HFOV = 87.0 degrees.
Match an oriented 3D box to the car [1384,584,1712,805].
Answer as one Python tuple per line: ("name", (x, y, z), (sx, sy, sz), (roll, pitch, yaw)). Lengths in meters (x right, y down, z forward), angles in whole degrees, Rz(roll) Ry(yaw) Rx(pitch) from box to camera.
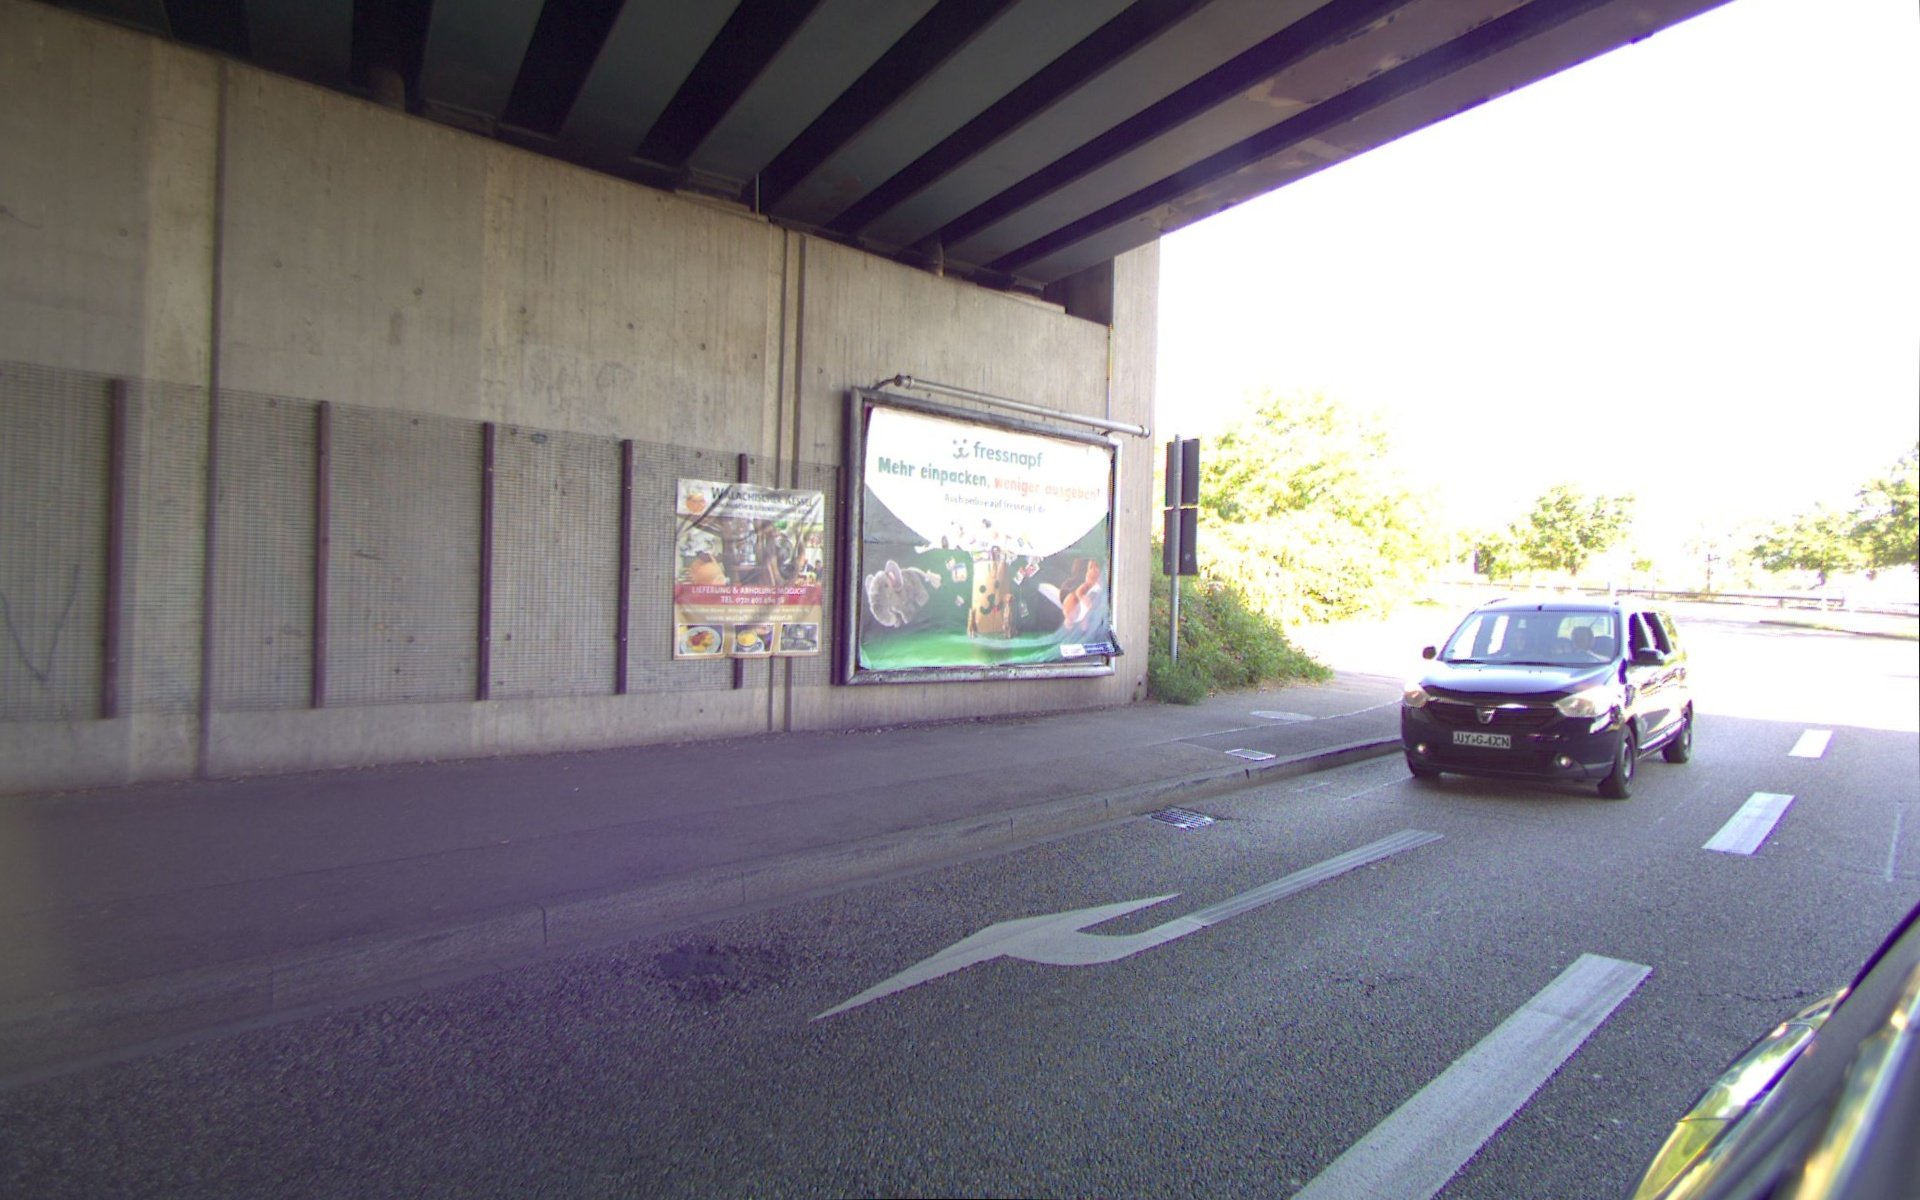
("car", (5.665, 0.699, 9.513), (1.774, 1.621, 4.040), (0, -1, 44))
